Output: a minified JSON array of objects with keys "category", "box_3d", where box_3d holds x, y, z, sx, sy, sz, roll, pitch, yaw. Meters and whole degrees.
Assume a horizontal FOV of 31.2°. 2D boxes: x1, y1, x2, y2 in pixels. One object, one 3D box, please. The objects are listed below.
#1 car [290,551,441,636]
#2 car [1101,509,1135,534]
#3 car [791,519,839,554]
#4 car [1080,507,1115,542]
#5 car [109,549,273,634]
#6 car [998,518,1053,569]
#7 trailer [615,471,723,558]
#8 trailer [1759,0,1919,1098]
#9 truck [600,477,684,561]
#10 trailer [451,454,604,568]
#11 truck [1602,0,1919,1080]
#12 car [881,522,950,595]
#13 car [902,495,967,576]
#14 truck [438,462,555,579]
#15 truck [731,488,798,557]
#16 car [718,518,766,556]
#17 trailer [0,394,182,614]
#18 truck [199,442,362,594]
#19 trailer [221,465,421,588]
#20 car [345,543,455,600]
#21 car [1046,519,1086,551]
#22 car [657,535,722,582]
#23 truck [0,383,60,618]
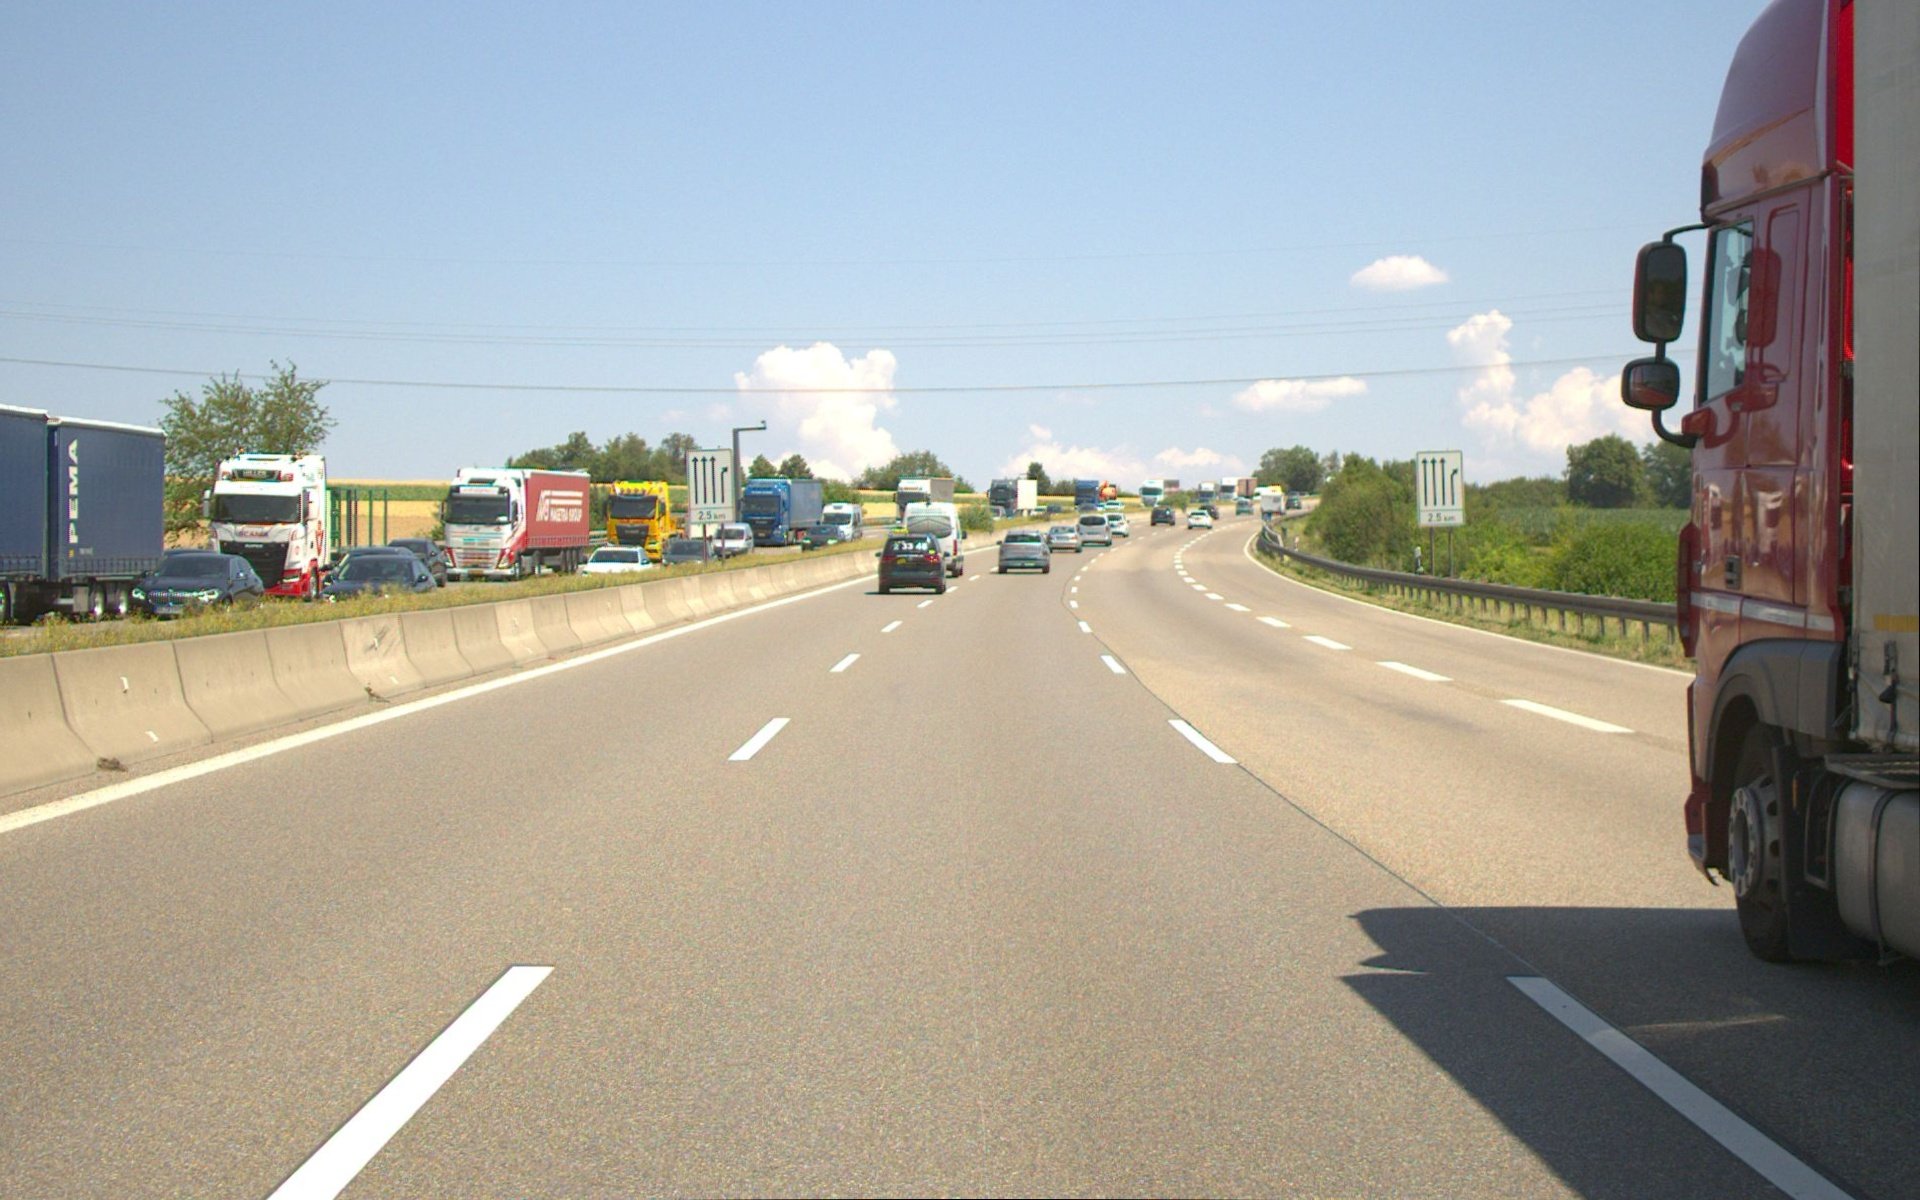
[{"category":"car","box_3d":[-11.283,-0.154,65.532,1.993,1.522,4.773,1,1,1]},{"category":"car","box_3d":[10.563,-5.262,229.355,1.994,1.546,4.000,1,2,6]},{"category":"car","box_3d":[-7.297,-3.218,173.620,2.049,1.690,5.256,1,1,1]},{"category":"car","box_3d":[7.968,-4.389,199.446,1.993,1.897,4.000,0,-1,1]},{"category":"car","box_3d":[-14.541,-0.189,65.286,1.993,1.522,4.773,1,1,1]},{"category":"car","box_3d":[2.424,-2.082,126.758,1.993,1.744,4.000,1,-1,1]},{"category":"trailer","box_3d":[-14.249,-4.251,169.673,2.953,4.086,14.380,1,2,5]},{"category":"trailer","box_3d":[4.382,-0.512,5.136,2.918,4.103,13.859,1,1,-1]},{"category":"truck","box_3d":[-14.942,-3.838,162.002,2.751,3.824,7.097,1,2,5]},{"category":"trailer","box_3d":[-16.259,-3.371,130.504,3.086,4.086,14.380,1,1,4]},{"category":"truck","box_3d":[4.291,-0.589,11.685,2.916,3.995,6.511,1,1,0]},{"category":"car","box_3d":[-1.225,-1.153,94.312,1.847,1.854,4.206,0,3,-1]},{"category":"car","box_3d":[-0.891,-2.205,118.813,2.180,2.616,4.672,1,-1,0]},{"category":"truck","box_3d":[-16.623,-2.863,123.636,3.036,4.067,6.314,1,1,3]},{"category":"truck","box_3d":[-11.606,-4.636,205.096,3.076,4.076,6.935,1,1,4]},{"category":"car","box_3d":[-10.407,-3.026,164.315,1.913,1.766,4.762,1,1,1]},{"category":"trailer","box_3d":[-18.396,-1.914,69.775,2.986,4.178,8.595,0,1,2]},{"category":"truck","box_3d":[-17.831,-2.158,90.561,2.901,3.863,6.178,1,1,2]},{"category":"trailer","box_3d":[-17.701,-2.078,96.290,2.858,3.195,12.783,1,1,2]},{"category":"car","box_3d":[-14.649,-0.778,90.229,1.993,1.450,5.170,0,1,1]},{"category":"car","box_3d":[5.553,-3.389,179.215,1.994,1.579,4.000,-1,0,3]},{"category":"car","box_3d":[-9.535,-1.474,121.663,1.838,1.578,4.554,1,1,1]},{"category":"truck","box_3d":[-18.753,-1.748,60.004,3.001,4.219,10.734,0,1,1]}]
